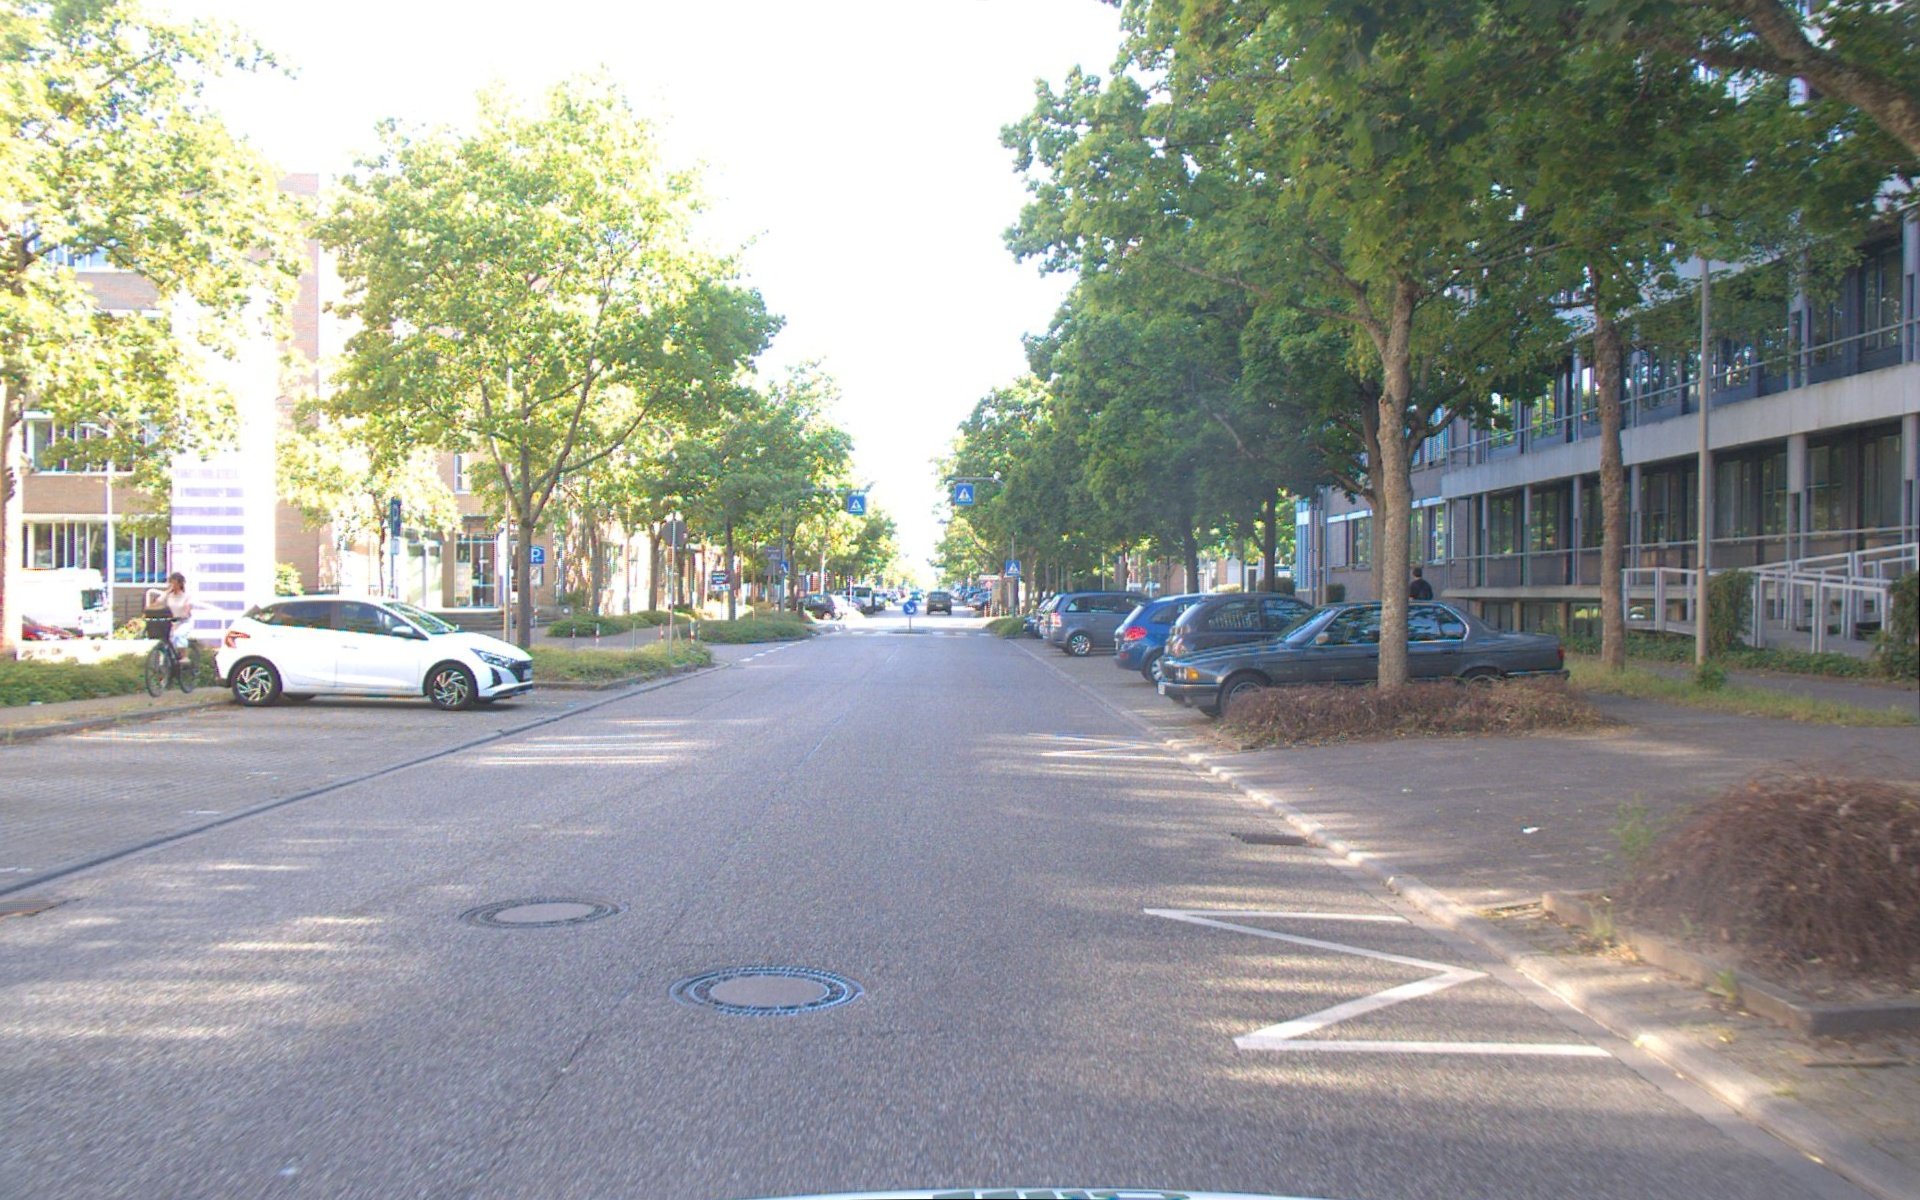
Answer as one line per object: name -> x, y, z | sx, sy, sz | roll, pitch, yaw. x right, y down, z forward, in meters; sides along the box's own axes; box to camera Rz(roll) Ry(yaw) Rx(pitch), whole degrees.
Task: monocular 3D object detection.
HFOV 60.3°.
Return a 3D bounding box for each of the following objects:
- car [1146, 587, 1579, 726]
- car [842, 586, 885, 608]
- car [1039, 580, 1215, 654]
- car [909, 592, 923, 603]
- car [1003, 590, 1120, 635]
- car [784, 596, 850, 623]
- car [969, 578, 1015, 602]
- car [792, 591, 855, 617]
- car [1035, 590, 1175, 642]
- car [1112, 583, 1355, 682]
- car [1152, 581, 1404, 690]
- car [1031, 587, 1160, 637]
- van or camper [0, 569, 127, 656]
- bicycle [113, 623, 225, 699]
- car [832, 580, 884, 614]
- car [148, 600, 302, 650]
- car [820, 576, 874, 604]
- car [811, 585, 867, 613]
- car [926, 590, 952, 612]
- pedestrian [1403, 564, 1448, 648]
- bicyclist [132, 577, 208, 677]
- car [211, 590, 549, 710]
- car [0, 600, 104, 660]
car -> 4.791, 0.644, 20.164 | 4.728, 1.444, 2.031 | -2, 0, -3
car -> -8.855, -0.277, 151.759 | 3.907, 2.049, 1.999 | 0, 0, -3
car -> 4.272, 0.430, 42.734 | 4.265, 1.733, 1.811 | -2, 0, -4
car -> -6.047, -0.331, 228.763 | 1.776, 1.551, 4.000 | -1, 0, 0
car -> 3.718, 0.452, 61.289 | 4.108, 1.499, 1.811 | -2, 0, -4
car -> -8.386, 0.560, 97.046 | 3.776, 1.499, 1.809 | 2, 0, -8
car -> 2.839, -0.872, 146.597 | 3.907, 2.049, 1.999 | 0, 0, -3
car -> -8.396, 0.251, 101.858 | 3.775, 1.499, 1.810 | 2, 0, -7
car -> 4.498, 0.480, 51.644 | 4.108, 1.474, 1.811 | -2, 0, -4
car -> 4.664, 0.542, 28.609 | 3.868, 1.541, 1.813 | -2, 0, 0
car -> 4.925, 0.533, 25.967 | 3.567, 1.541, 1.812 | -2, 0, -1
car -> 4.581, 0.401, 56.245 | 4.108, 1.563, 1.811 | -2, 0, -4
van or camper -> -30.521, 0.393, 54.218 | 5.260, 2.721, 2.180 | -1, 1, -2
bicycle -> -11.117, 0.838, 23.306 | 0.593, 0.999, 1.864 | 0, 0, 3
car -> -8.130, -0.241, 132.547 | 3.903, 2.586, 1.863 | 1, 0, 4
car -> -24.040, 0.797, 54.202 | 4.106, 1.502, 2.000 | -1, 2, -1
car -> -8.694, -0.775, 127.351 | 3.903, 2.049, 2.001 | -1, 0, 3
car -> -9.043, -0.104, 123.972 | 3.903, 2.049, 2.001 | -1, 0, 3
car -> -1.688, 0.051, 130.739 | 1.953, 1.668, 3.999 | 2, 0, -1
pedestrian -> 10.043, 0.126, 35.727 | 0.595, 1.776, 1.191 | -1, 0, -1
bicyclist -> -11.127, 0.373, 23.309 | 0.593, 1.377, 0.913 | 0, 0, 3
car -> -7.720, 0.647, 22.313 | 3.906, 1.512, 1.806 | 1, 0, -2
car -> -26.134, 0.865, 45.504 | 4.106, 1.503, 1.999 | -2, -3, -1
